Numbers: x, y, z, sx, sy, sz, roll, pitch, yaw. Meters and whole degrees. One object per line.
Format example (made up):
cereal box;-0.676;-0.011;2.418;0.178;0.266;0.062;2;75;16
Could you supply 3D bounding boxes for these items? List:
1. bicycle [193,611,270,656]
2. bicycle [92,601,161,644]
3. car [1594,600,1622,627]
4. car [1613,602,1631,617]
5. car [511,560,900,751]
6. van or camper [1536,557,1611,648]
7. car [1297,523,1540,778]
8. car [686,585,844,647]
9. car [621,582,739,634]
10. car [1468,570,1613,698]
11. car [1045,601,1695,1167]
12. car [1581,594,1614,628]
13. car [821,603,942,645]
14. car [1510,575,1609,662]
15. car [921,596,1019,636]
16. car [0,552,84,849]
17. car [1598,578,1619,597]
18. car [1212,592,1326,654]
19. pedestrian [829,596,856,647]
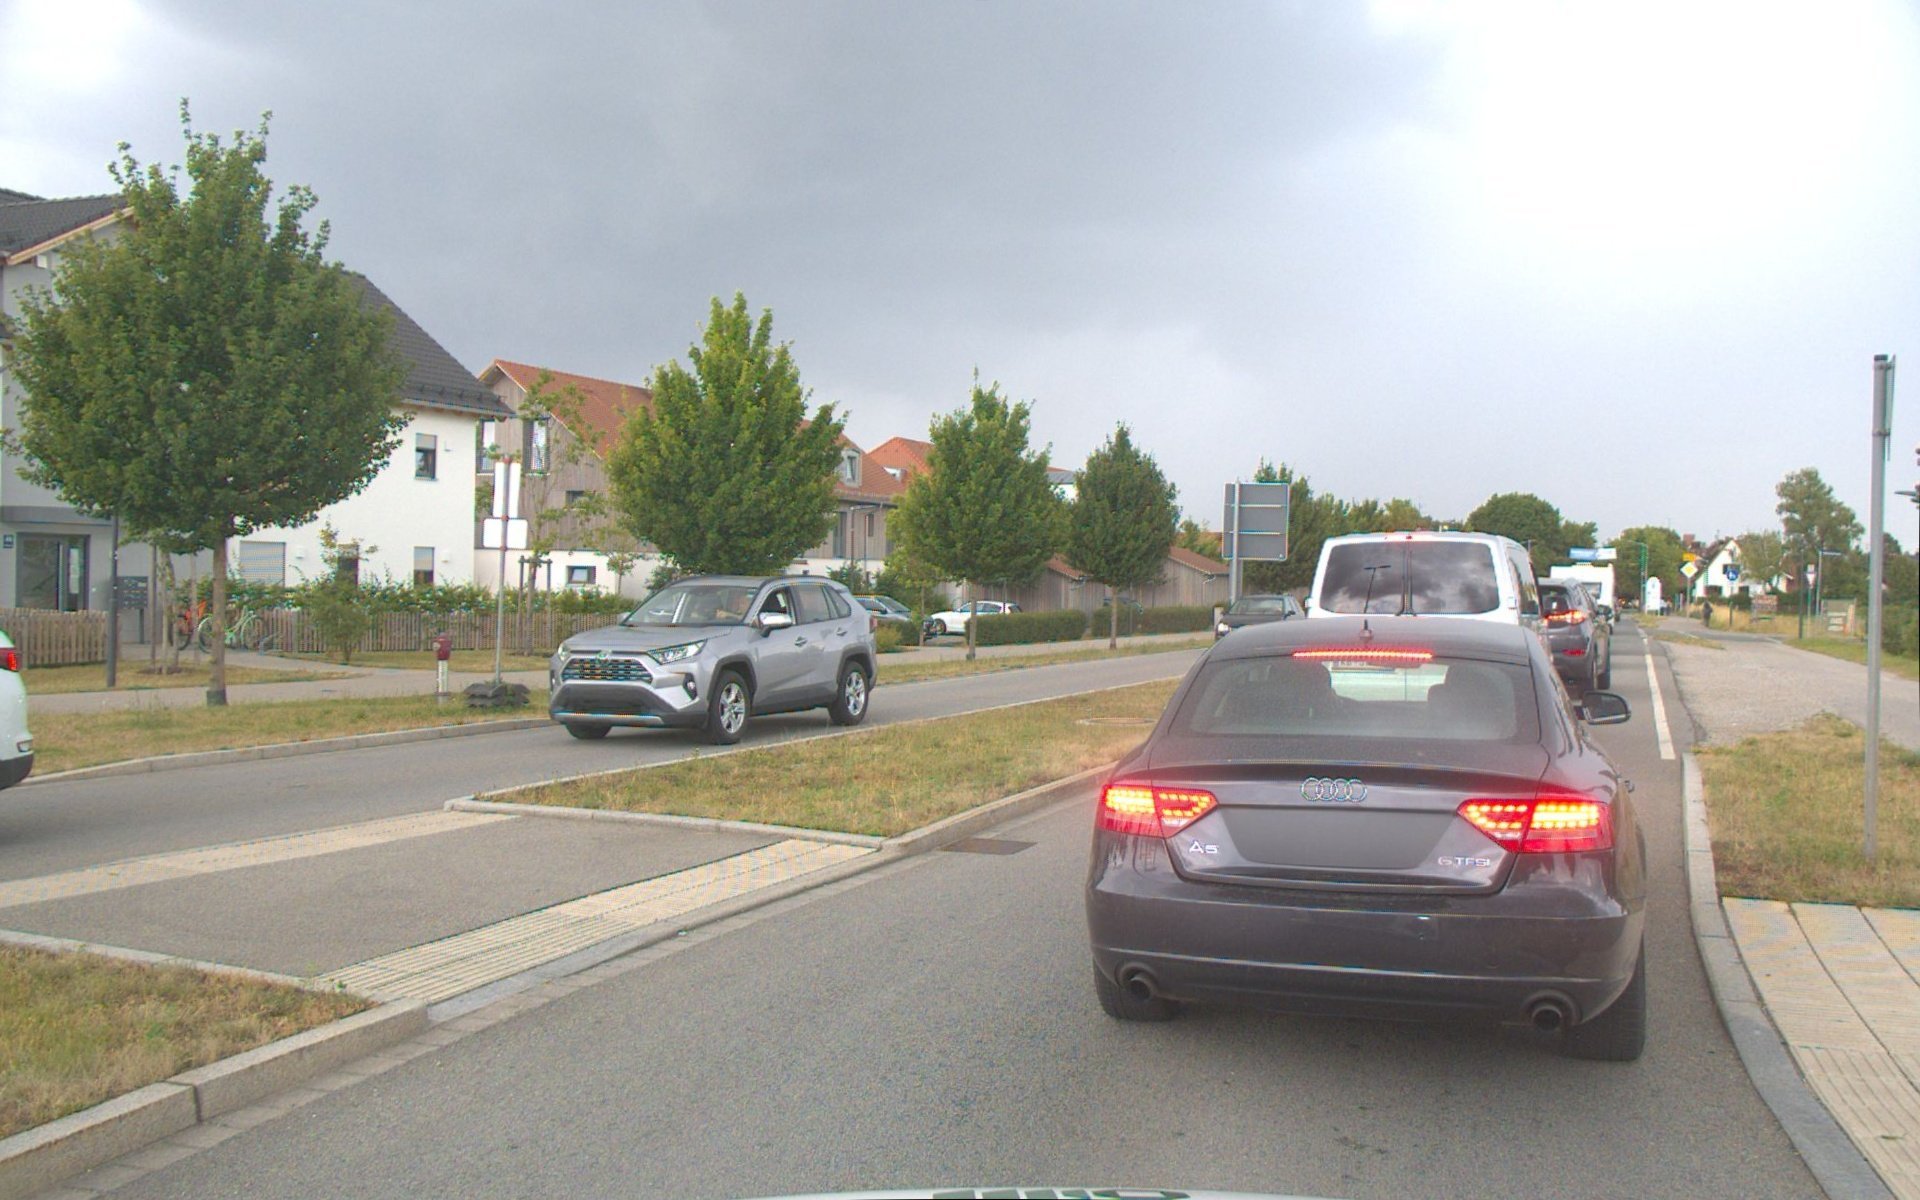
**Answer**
bicycle;-14.819;0.678;33.676;0.360;0.857;1.546;4;1;24
bicycle;-17.501;0.471;34.765;0.360;0.857;1.337;4;1;24
car;41.991;0.851;107.105;1.581;1.659;3.615;2;1;23
car;65.080;0.932;162.532;1.581;1.433;3.615;2;1;23
car;-2.493;0.488;17.549;1.953;1.733;4.634;0;0;23
van or camper;24.539;0.125;66.009;2.571;3.381;6.820;2;0;22
car;4.287;0.367;15.072;1.828;1.968;4.001;2;1;19
car;-6.009;0.462;50.929;4.441;1.709;1.998;2;1;26
car;-10.183;0.292;60.400;1.955;1.803;4.460;1;0;27
car;8.463;0.436;23.916;1.740;1.646;3.999;2;1;22
car;1.774;0.740;6.542;1.747;1.416;4.134;1;1;20
car;36.205;0.600;93.958;1.581;1.825;3.999;2;1;23
car;-2.773;0.838;58.473;3.834;1.338;1.843;2;1;20
car;12.179;0.348;33.477;1.740;1.646;3.999;1;0;22
car;0.411;0.644;67.604;3.652;1.507;1.687;2;1;20
car;-6.939;0.562;8.151;1.677;1.654;4.441;0;0;30
car;80.526;-1.566;205.355;1.955;2.250;3.996;2;1;26
car;7.901;0.531;41.993;1.719;1.441;4.452;2;1;26
pedestrian;-3.739;0.688;52.787;0.644;1.586;0.583;1;0;24
